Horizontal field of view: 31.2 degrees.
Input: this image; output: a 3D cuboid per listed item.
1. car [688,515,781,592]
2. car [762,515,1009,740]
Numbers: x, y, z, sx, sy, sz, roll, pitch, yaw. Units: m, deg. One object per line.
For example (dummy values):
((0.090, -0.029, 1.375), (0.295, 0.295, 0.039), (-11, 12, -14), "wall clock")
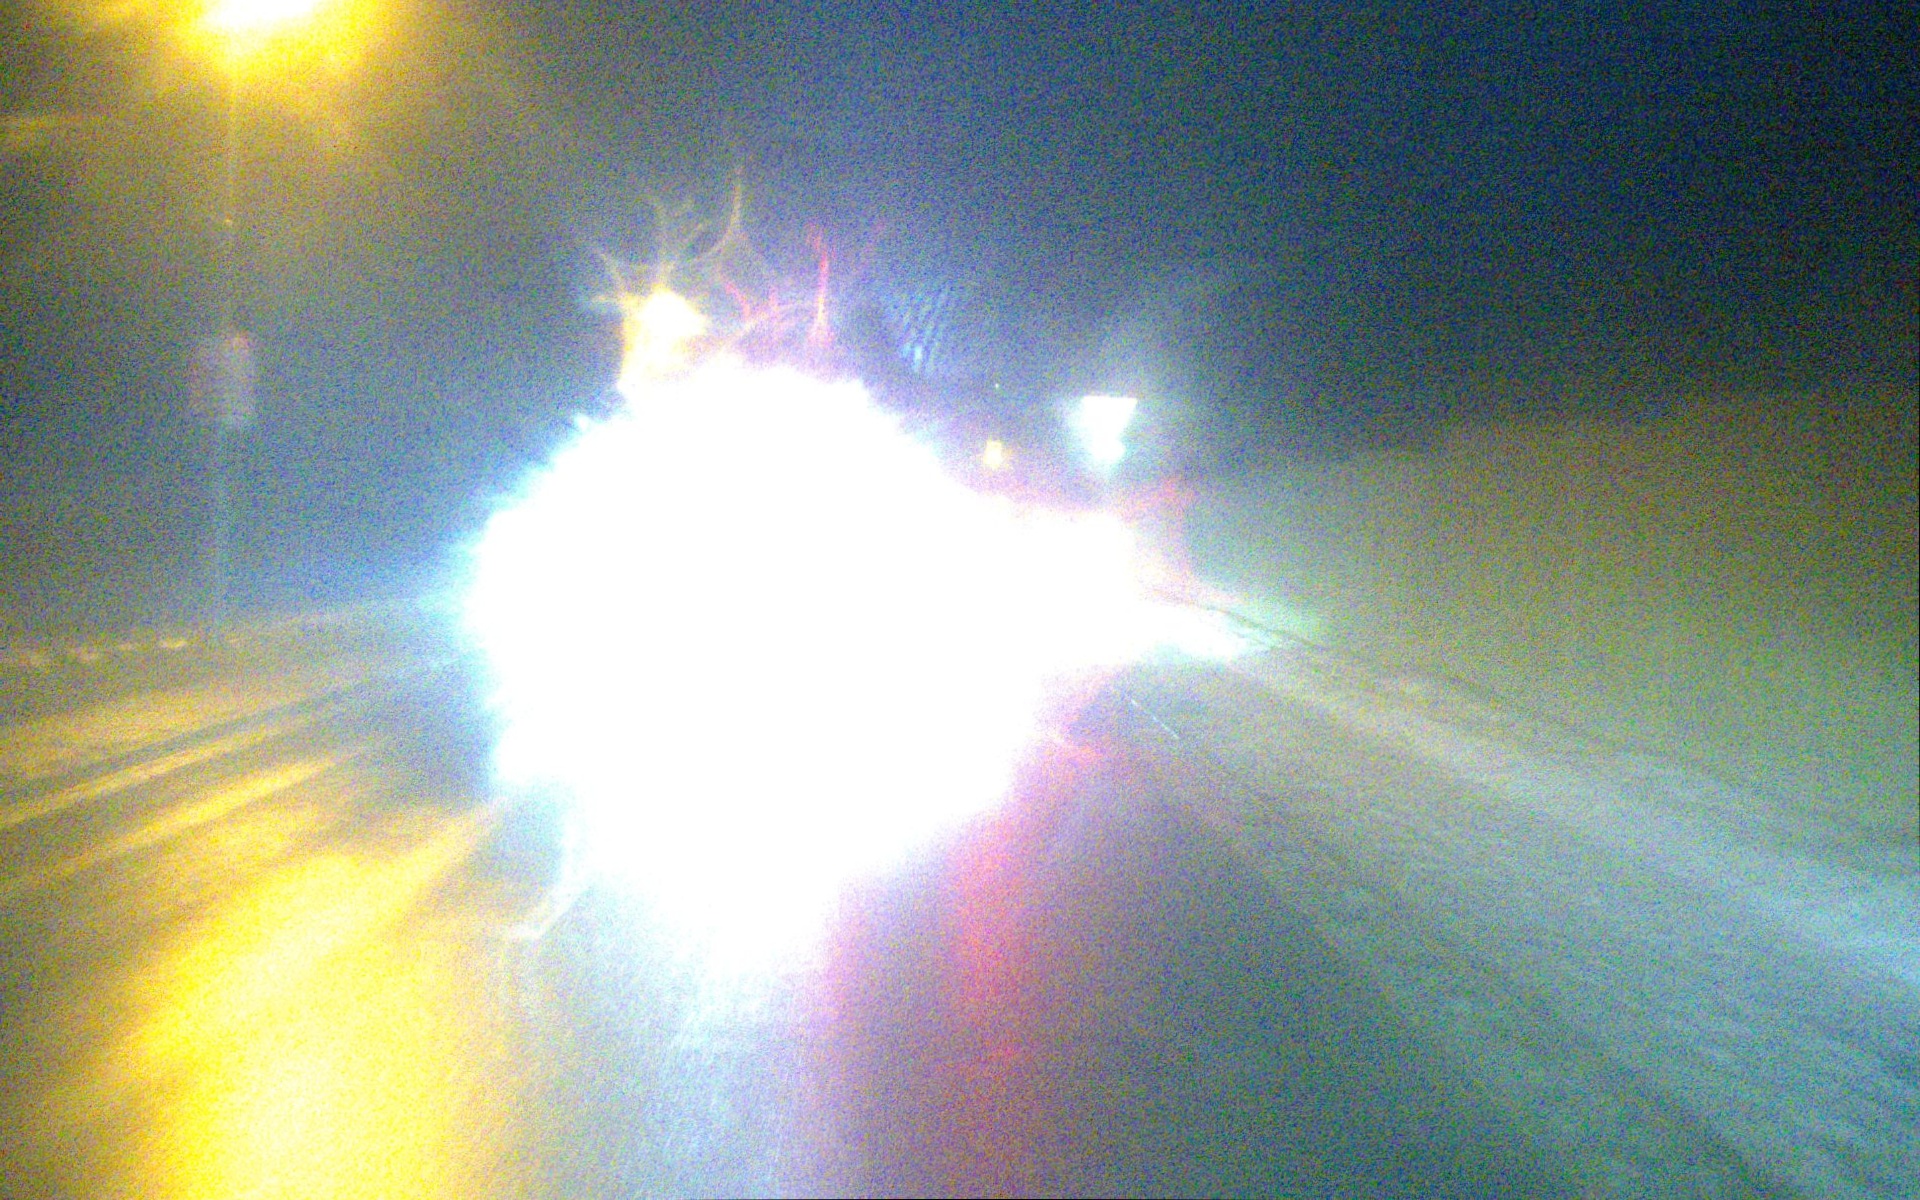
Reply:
((-4.615, -0.966, 70.850), (1.731, 1.513, 4.016), (1, 1, -2), "car")
((-0.577, 0.194, 27.834), (1.801, 1.623, 3.615), (3, 0, 0), "car")
